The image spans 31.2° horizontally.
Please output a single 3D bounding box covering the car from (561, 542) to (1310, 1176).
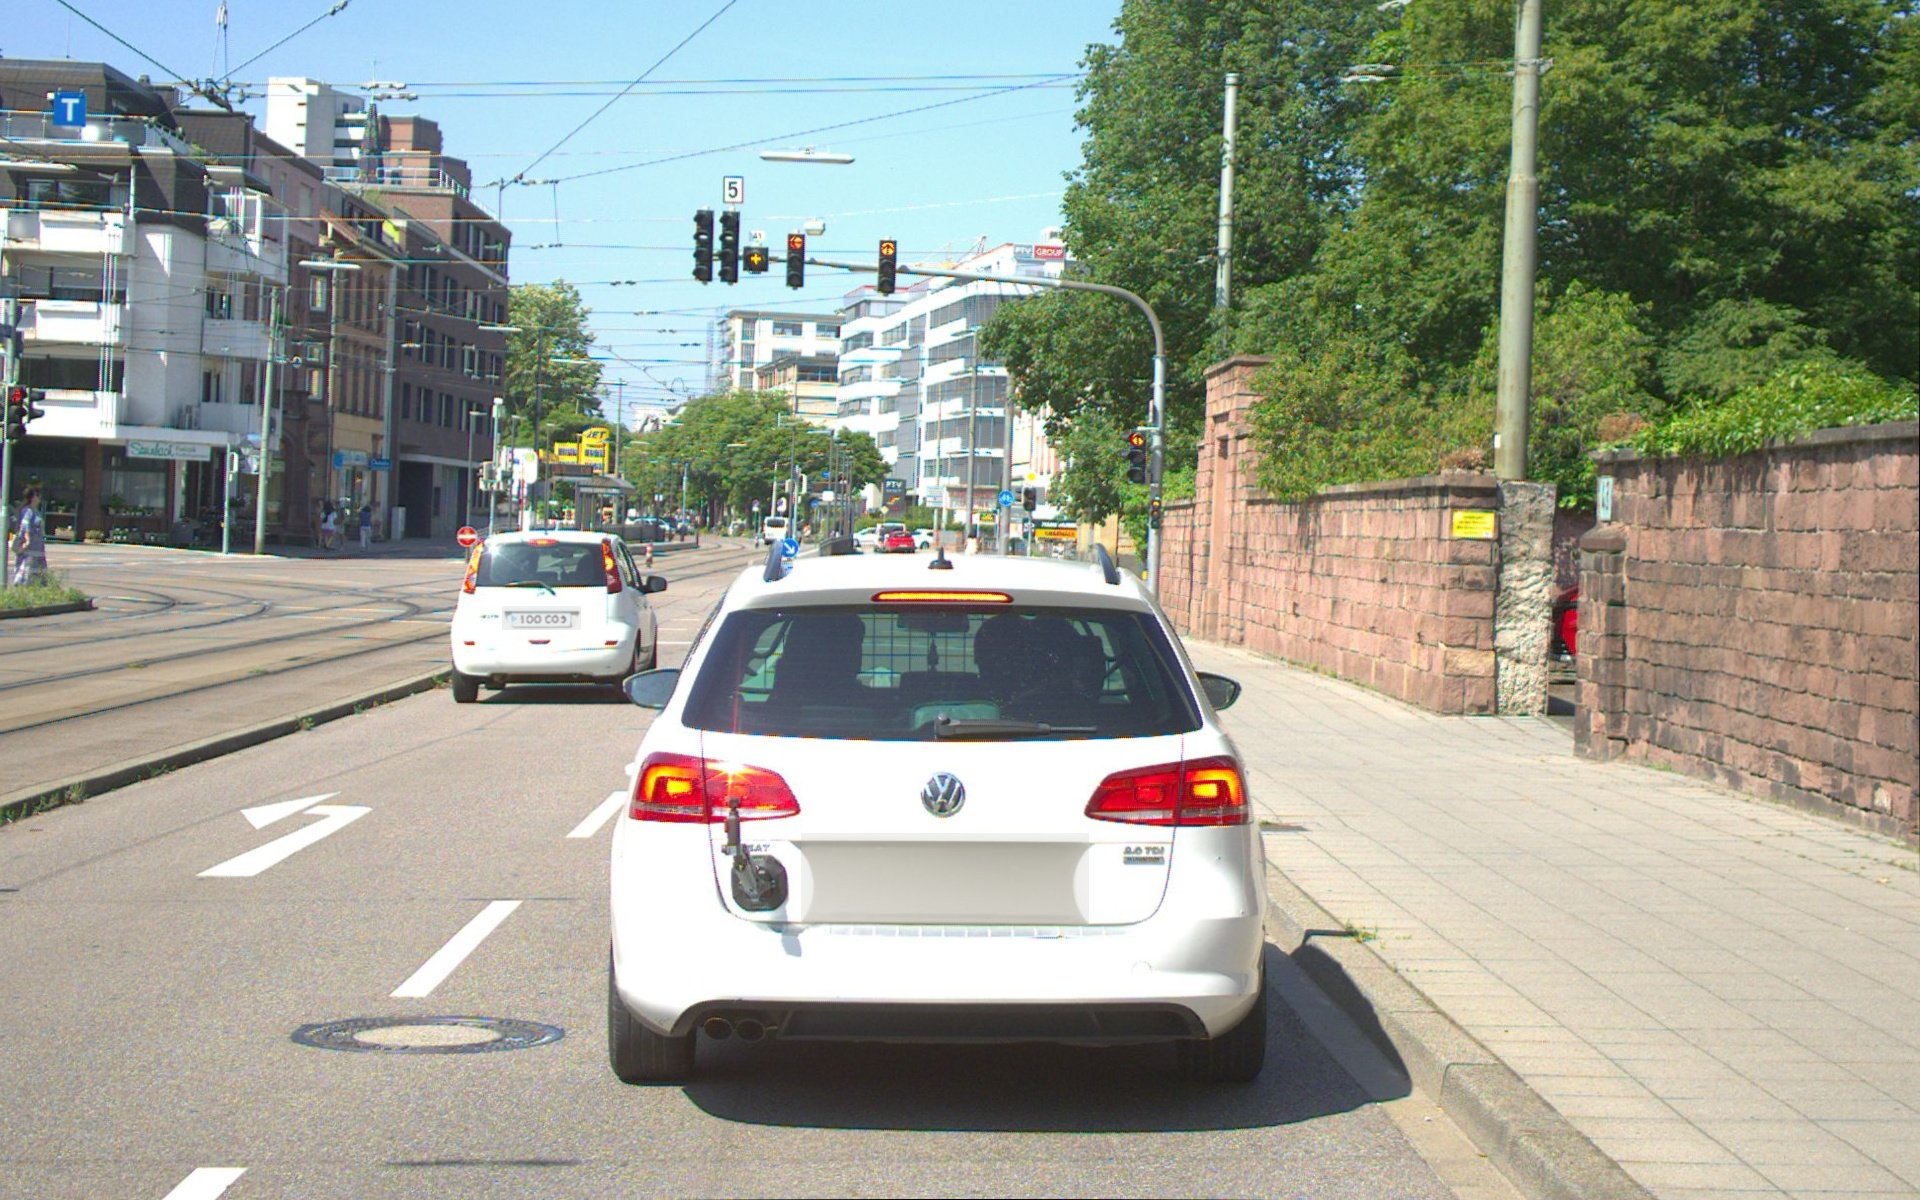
[{"bbox_3d":[-0.062,0.594,10.225,1.778,1.485,3.847,1,1,0],"label":"car"}]

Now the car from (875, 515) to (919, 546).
[{"bbox_3d":[-4.237,-4.654,230.406,1.993,2.007,4.002,2,1,-14],"label":"car"}]

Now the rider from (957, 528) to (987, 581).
[{"bbox_3d":[0.393,-1.513,114.232,0.891,1.722,2.204,2,1,0],"label":"rider"}]

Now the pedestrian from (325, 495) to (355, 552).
[{"bbox_3d":[-22.186,-2.740,123.040,0.936,2.007,0.991,2,1,-6],"label":"pedestrian"}]

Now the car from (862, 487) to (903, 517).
[{"bbox_3d":[-5.508,-6.997,244.995,1.993,2.007,4.002,2,1,-14],"label":"car"}]

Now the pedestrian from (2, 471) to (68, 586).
[{"bbox_3d":[-14.229,-1.097,52.913,0.826,1.733,0.932,2,1,-8],"label":"pedestrian"}]

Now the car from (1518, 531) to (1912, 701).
[{"bbox_3d":[7.254,0.139,33.234,3.407,1.459,1.524,2,1,-1],"label":"car"}]

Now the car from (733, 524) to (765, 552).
[{"bbox_3d":[-12.483,-3.662,203.524,1.698,1.585,3.535,2,1,-2],"label":"car"}]

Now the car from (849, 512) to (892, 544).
[{"bbox_3d":[-5.745,-4.613,219.946,1.993,1.897,4.001,2,1,-12],"label":"car"}]

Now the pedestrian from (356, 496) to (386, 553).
[{"bbox_3d":[-21.371,-2.744,124.765,0.936,2.007,0.991,2,1,-6],"label":"pedestrian"}]

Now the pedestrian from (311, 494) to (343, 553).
[{"bbox_3d":[-21.937,-2.655,119.160,0.936,2.007,0.991,2,1,-5],"label":"pedestrian"}]

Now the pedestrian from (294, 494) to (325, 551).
[{"bbox_3d":[-23.154,-2.753,122.340,0.936,2.007,0.991,2,1,-5],"label":"pedestrian"}]

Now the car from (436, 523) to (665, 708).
[{"bbox_3d":[-3.796,0.091,32.440,1.730,1.590,4.011,2,1,-1],"label":"car"}]

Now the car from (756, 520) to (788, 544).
[{"bbox_3d":[-12.953,-4.660,236.561,1.698,1.585,3.536,2,1,-11],"label":"car"}]
